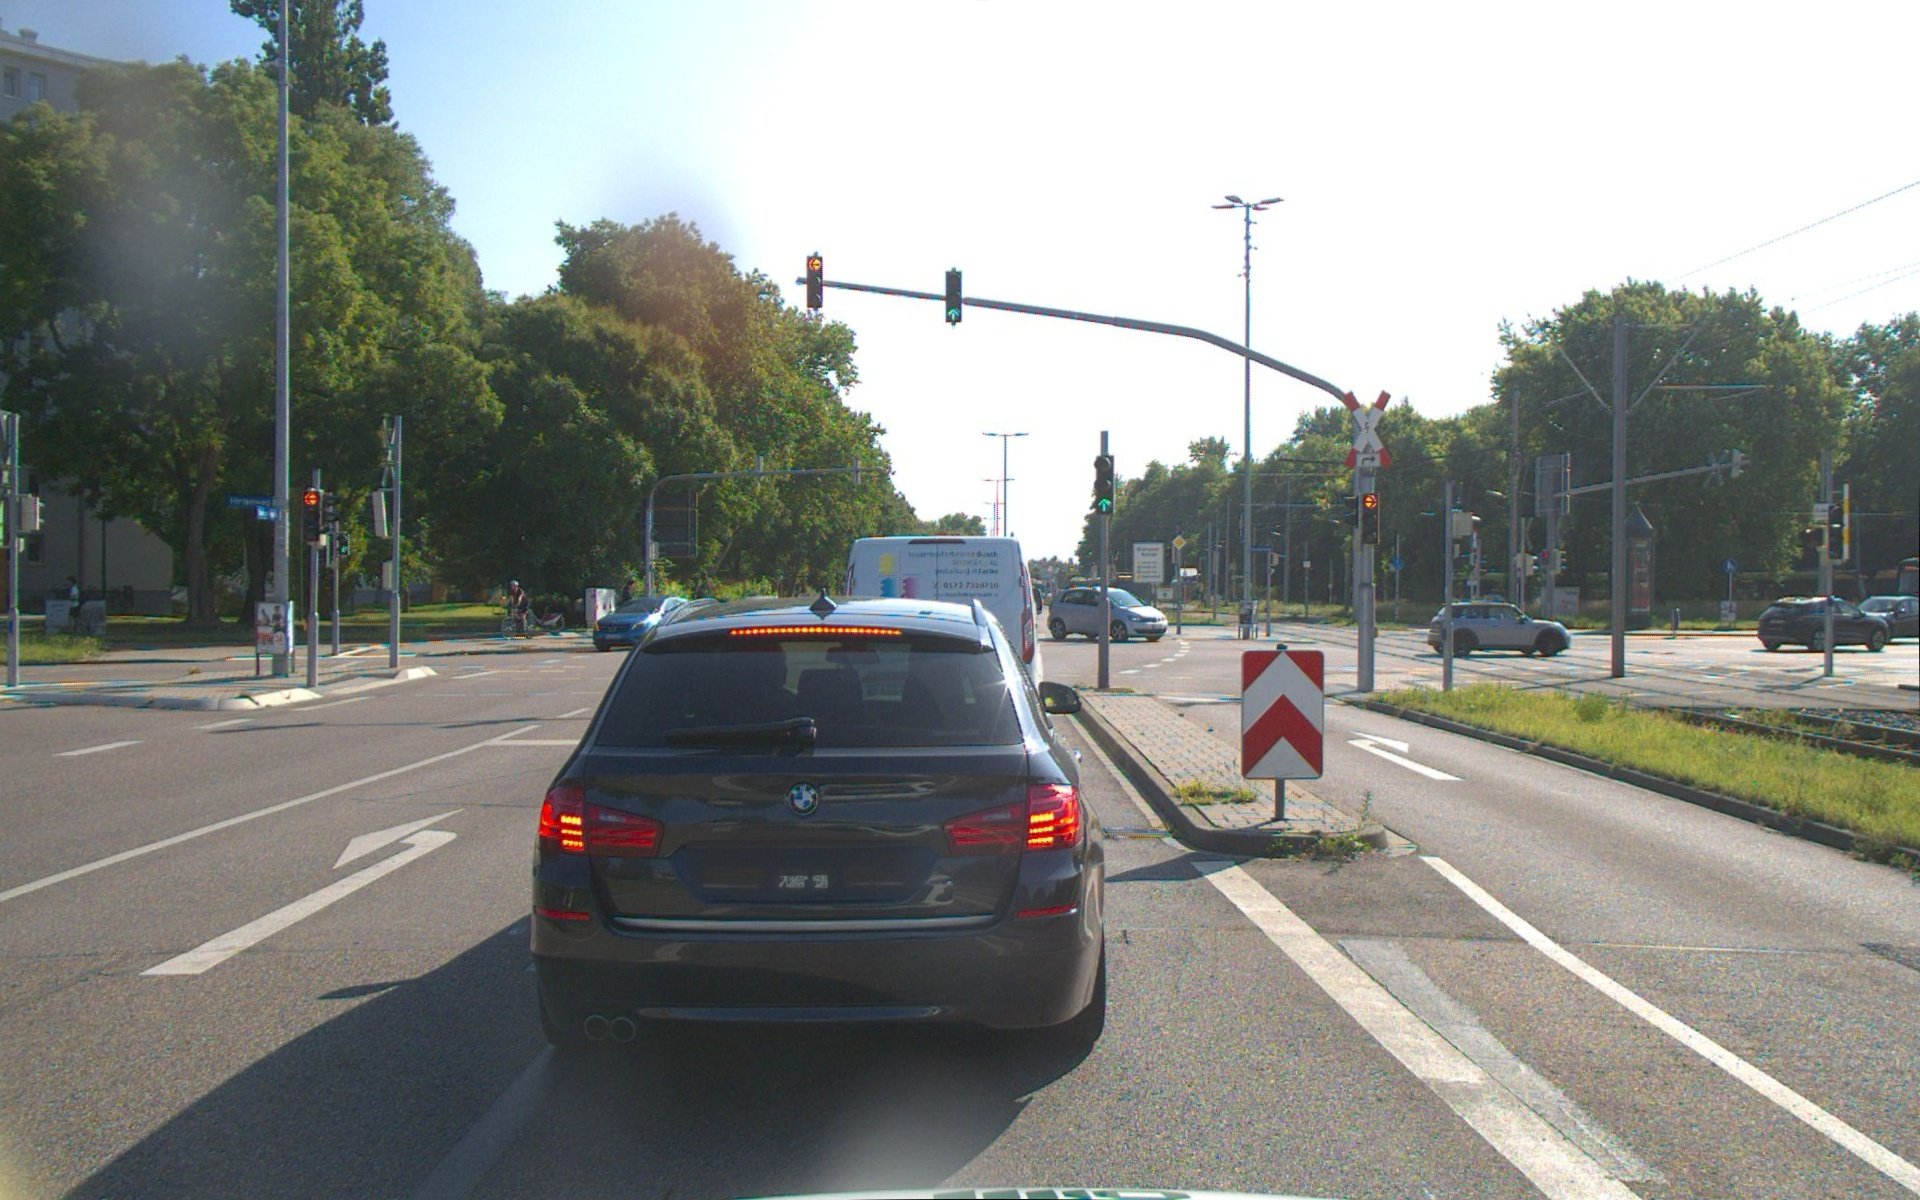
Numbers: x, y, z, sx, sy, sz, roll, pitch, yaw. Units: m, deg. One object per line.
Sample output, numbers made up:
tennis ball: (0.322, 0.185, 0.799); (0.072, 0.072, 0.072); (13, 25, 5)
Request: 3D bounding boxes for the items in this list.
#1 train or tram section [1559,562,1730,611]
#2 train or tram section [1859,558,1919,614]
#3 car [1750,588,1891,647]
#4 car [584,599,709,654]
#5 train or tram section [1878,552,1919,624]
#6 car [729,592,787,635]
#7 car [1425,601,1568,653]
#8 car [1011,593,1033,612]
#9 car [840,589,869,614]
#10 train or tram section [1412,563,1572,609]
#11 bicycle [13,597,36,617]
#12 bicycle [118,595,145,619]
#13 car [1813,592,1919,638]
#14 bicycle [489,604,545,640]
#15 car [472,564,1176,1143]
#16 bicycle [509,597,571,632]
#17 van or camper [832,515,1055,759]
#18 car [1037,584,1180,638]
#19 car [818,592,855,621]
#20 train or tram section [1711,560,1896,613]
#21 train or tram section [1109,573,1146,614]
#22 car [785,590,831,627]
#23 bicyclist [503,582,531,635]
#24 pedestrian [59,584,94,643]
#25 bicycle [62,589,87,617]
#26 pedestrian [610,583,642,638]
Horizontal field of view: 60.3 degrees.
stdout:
train or tram section: (53.279, -1.046, 128.975); (11.984, 3.642, 3.043); (0, 0, 36)
train or tram section: (63.739, -0.935, 108.485); (2.981, 3.642, 12.231); (0, 0, 0)
car: (26.792, 0.535, 51.490); (4.554, 1.752, 1.634); (0, 0, -28)
car: (-8.758, 0.718, 46.580); (1.742, 1.439, 4.248); (0, 0, 16)
train or tram section: (53.169, -0.618, 87.994); (11.721, 3.642, 3.015); (0, 0, -37)
car: (-7.545, 0.473, 62.189); (1.668, 1.490, 4.369); (-1, 0, -1)
car: (14.820, 0.734, 45.779); (3.447, 1.408, 1.606); (0, 0, -1)
car: (5.278, 0.197, 140.814); (1.756, 1.512, 3.900); (0, 0, 1)
car: (-6.695, 0.085, 105.550); (1.753, 1.546, 3.998); (-1, 0, -3)
train or tram section: (43.517, -1.140, 135.485); (12.170, 3.642, 3.048); (0, 0, 31)
bicycle: (-36.606, 0.267, 64.690); (0.578, 0.721, 2.211); (0, 1, -35)
bicycle: (-33.475, 0.268, 66.808); (0.663, 0.936, 2.377); (0, 1, -35)
car: (32.831, 0.502, 58.944); (4.792, 1.590, 2.025); (0, 0, -29)
bicycle: (-13.501, 0.646, 50.478); (0.607, 1.058, 2.072); (0, 0, 19)
car: (-0.381, 0.662, 6.429); (1.864, 1.532, 4.064); (0, 0, -1)
bicycle: (-13.811, 0.488, 54.433); (1.870, 1.138, 0.632); (0, 0, -1)
van or camper: (-0.119, 0.310, 16.794); (1.952, 2.133, 4.599); (0, 0, 1)
car: (4.492, 0.302, 50.447); (4.133, 1.590, 1.843); (1, 0, 45)
car: (-6.648, 0.353, 89.251); (1.851, 1.499, 4.098); (-1, 0, -3)
train or tram section: (60.922, -0.960, 119.886); (3.017, 3.642, 12.087); (0, 0, -34)
train or tram section: (15.594, -0.544, 154.781); (2.738, 3.681, 12.960); (1, 0, 3)
car: (-6.980, 0.379, 76.177); (1.709, 1.589, 4.000); (-2, 0, 0)
bicyclist: (-13.507, 0.249, 50.457); (0.594, 1.587, 0.603); (0, 0, 19)
pedestrian: (-26.281, 0.397, 49.207); (0.610, 1.742, 0.705); (0, 2, 11)
bicycle: (-35.039, 0.135, 65.445); (0.606, 1.085, 1.892); (1, -2, -37)
pedestrian: (-10.940, 0.346, 54.239); (0.798, 1.782, 0.932); (0, 0, 5)
